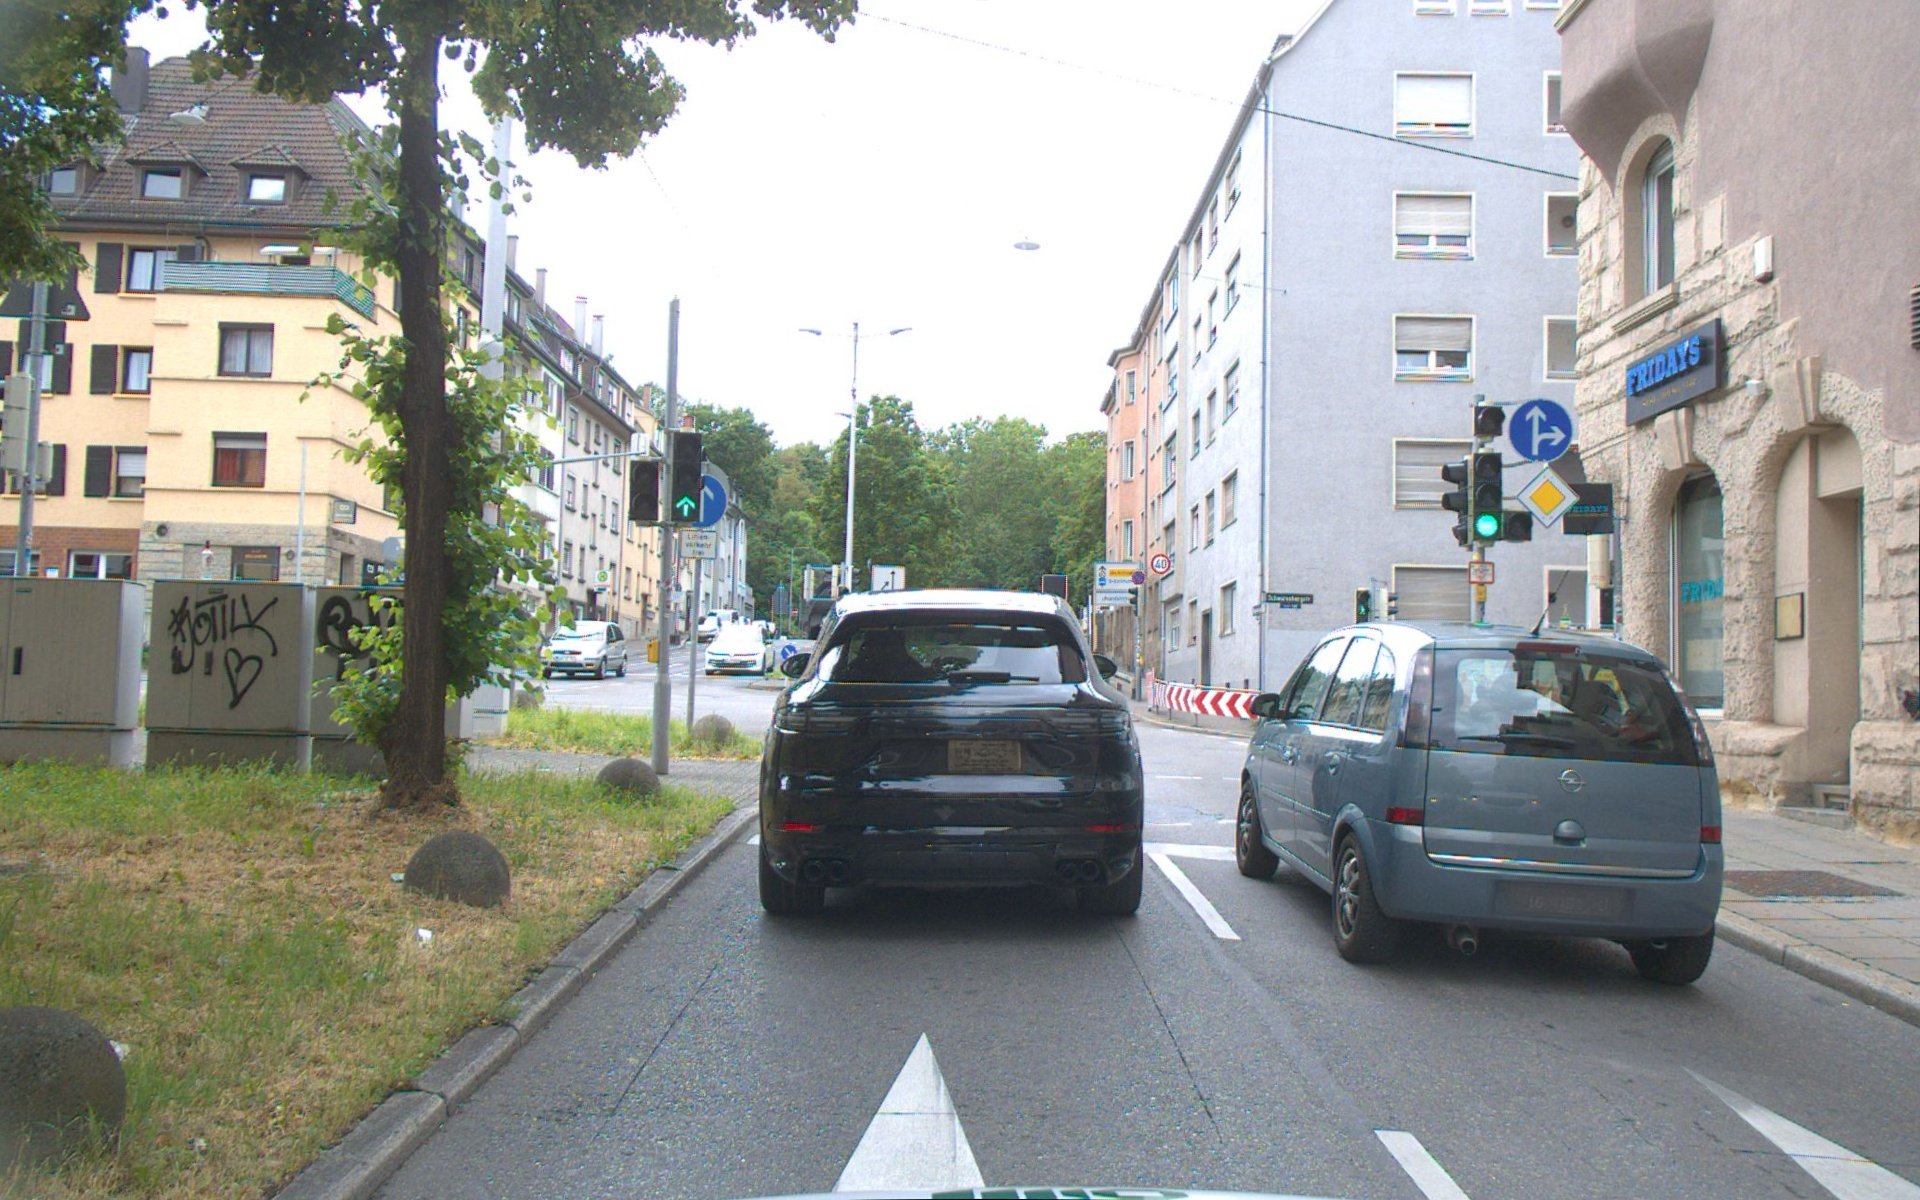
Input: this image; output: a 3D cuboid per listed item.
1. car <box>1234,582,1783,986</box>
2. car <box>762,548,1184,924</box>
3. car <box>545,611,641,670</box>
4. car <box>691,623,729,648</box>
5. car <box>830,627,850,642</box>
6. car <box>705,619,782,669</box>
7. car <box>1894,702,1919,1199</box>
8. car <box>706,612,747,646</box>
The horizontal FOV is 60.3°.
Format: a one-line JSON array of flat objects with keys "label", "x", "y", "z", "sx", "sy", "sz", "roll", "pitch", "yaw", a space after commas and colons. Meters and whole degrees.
[{"label": "car", "x": 2.659, "y": 0.804, "z": 8.915, "sx": 1.596, "sy": 1.625, "sz": 3.667, "roll": 4, "pitch": -1, "yaw": -1}, {"label": "car", "x": 0.025, "y": 0.666, "z": 9.539, "sx": 1.916, "sy": 1.704, "sz": 3.998, "roll": 0, "pitch": -1, "yaw": -1}, {"label": "car", "x": -9.876, "y": 1.130, "z": 44.750, "sx": 1.585, "sy": 1.506, "sz": 3.824, "roll": 1, "pitch": -2, "yaw": 2}, {"label": "car", "x": -14.832, "y": 2.104, "z": 98.404, "sx": 1.703, "sy": 1.411, "sz": 3.812, "roll": 1, "pitch": -1, "yaw": -1}, {"label": "car", "x": -10.371, "y": 2.959, "z": 142.875, "sx": 1.519, "sy": 1.279, "sz": 3.661, "roll": 1, "pitch": -1, "yaw": -1}, {"label": "car", "x": -6.539, "y": 1.330, "z": 50.333, "sx": 1.824, "sy": 1.412, "sz": 4.093, "roll": 1, "pitch": -1, "yaw": -1}, {"label": "car", "x": 2.883, "y": 0.576, "z": 0.876, "sx": 1.936, "sy": 1.806, "sz": 4.673, "roll": 4, "pitch": -2, "yaw": -3}, {"label": "car", "x": -14.674, "y": 1.846, "z": 104.107, "sx": 1.975, "sy": 2.081, "sz": 4.665, "roll": 1, "pitch": -1, "yaw": -1}]
